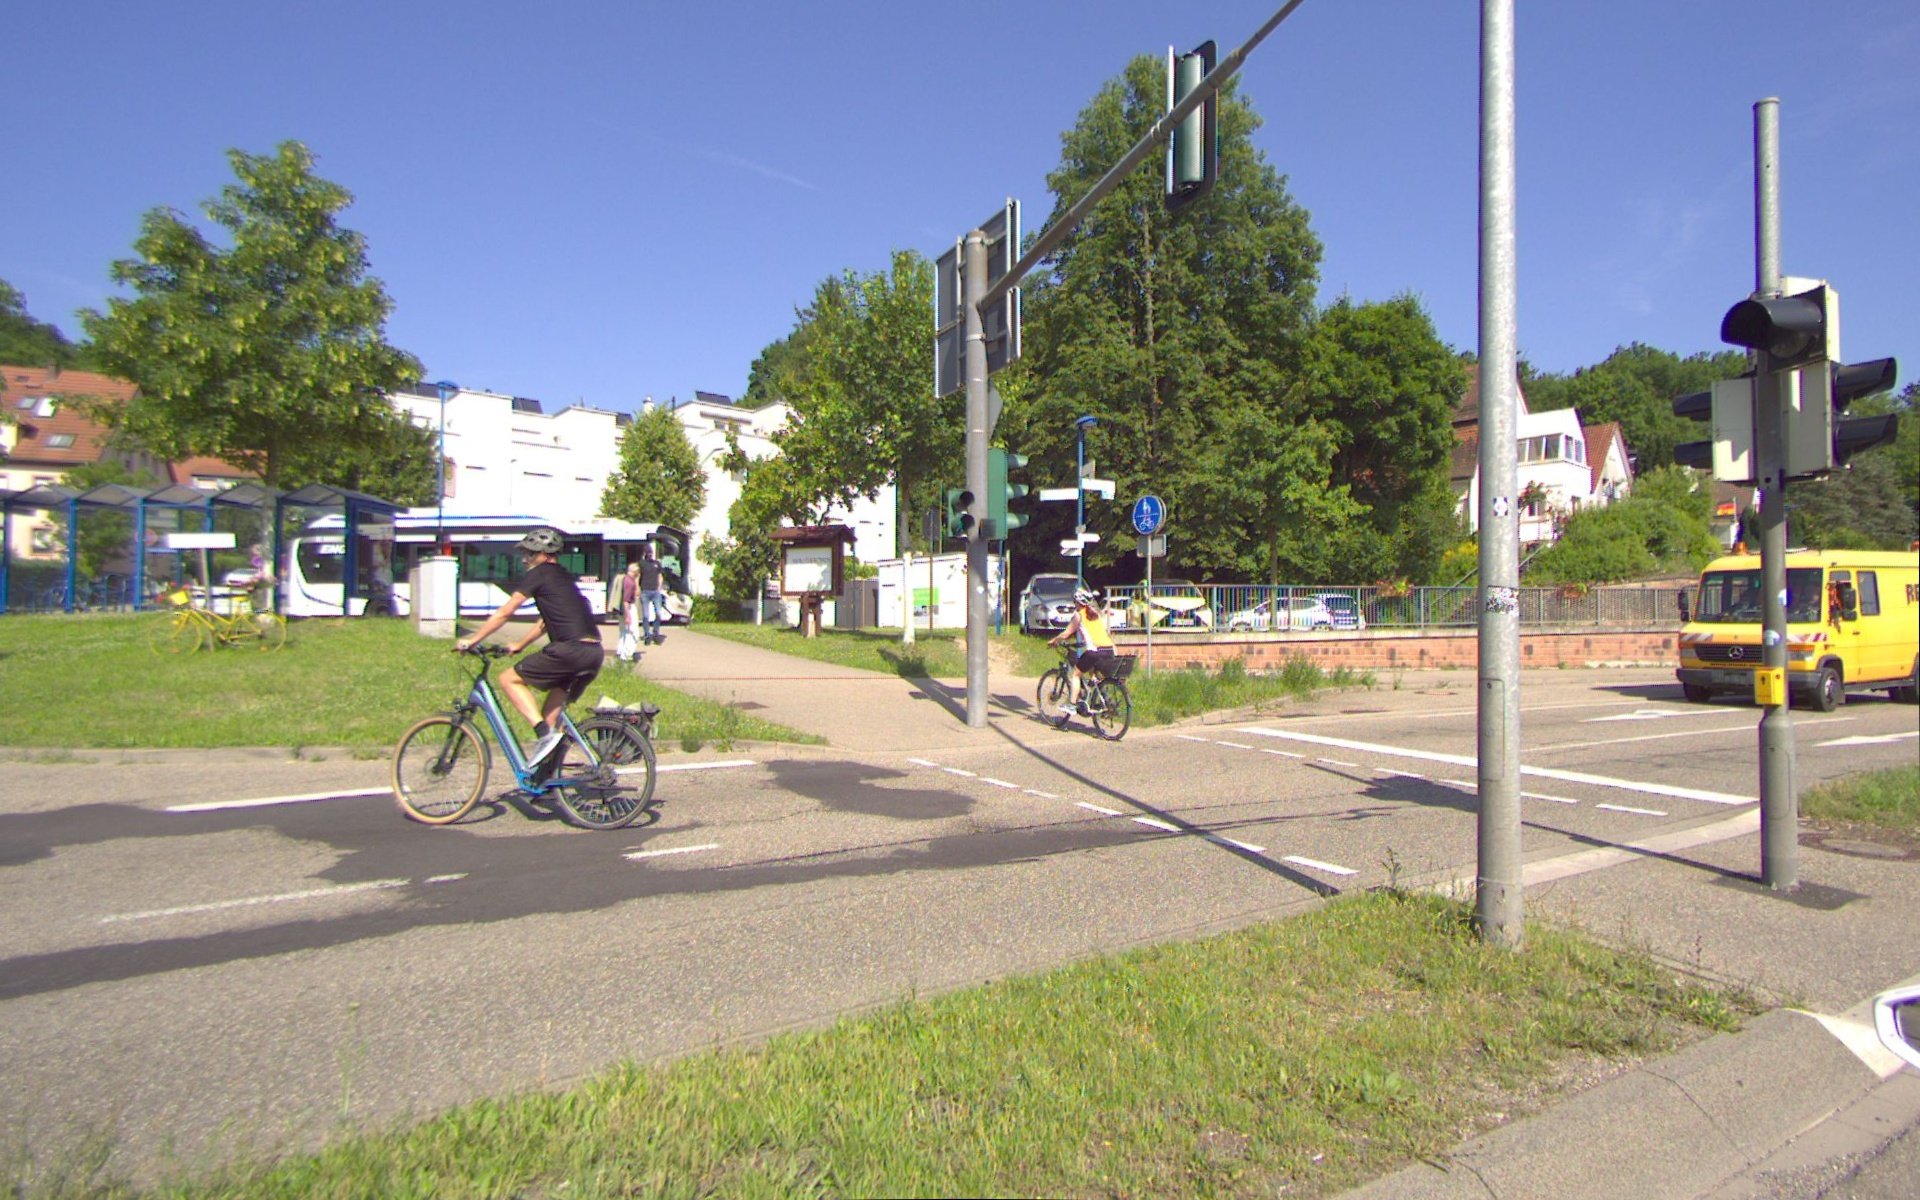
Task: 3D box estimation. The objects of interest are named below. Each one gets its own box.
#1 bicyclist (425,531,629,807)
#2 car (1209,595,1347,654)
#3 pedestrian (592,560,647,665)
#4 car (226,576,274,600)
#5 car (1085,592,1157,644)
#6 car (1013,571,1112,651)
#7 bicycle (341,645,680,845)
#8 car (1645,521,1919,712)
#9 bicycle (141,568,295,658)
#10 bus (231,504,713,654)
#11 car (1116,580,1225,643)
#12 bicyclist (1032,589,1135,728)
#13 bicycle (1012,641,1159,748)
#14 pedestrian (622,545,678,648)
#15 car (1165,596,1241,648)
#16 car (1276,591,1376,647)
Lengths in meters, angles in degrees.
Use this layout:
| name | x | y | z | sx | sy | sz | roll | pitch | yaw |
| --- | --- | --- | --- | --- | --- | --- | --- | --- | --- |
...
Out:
| name | x | y | z | sx | sy | sz | roll | pitch | yaw |
| --- | --- | --- | --- | --- | --- | --- | --- | --- | --- |
| bicyclist | -2.850 | 0.422 | 6.697 | 0.973 | 1.714 | 0.807 | 1 | 1 | 6 |
| car | 10.286 | 0.790 | 32.717 | 3.920 | 1.813 | 1.922 | 1 | -1 | 1 |
| pedestrian | -5.670 | 0.190 | 16.733 | 0.732 | 1.700 | 0.707 | 0 | 2 | -31 |
| car | -56.752 | -0.953 | 80.353 | 1.968 | 1.833 | 3.985 | 1 | 0 | -17 |
| car | 5.826 | 0.614 | 36.739 | 1.876 | 1.724 | 3.998 | 0 | 1 | -2 |
| car | 2.372 | 0.189 | 24.308 | 2.016 | 1.719 | 4.415 | 1 | 2 | 1 |
| bicycle | -2.962 | 0.926 | 6.726 | 1.959 | 1.178 | 0.735 | 1 | 1 | 6 |
| car | 15.846 | 0.308 | 18.684 | 6.386 | 3.051 | 2.457 | 1 | 0 | -29 |
| bicycle | -11.206 | 0.170 | 15.247 | 1.733 | 1.273 | 0.616 | -2 | 5 | -26 |
| bus | -13.003 | -0.616 | 27.234 | 11.971 | 3.764 | 2.871 | 1 | 1 | 5 |
| car | 5.014 | 0.218 | 24.452 | 1.876 | 1.400 | 4.000 | 0 | 1 | 1 |
| bicyclist | 1.479 | 0.674 | 12.108 | 0.798 | 1.585 | 0.949 | -1 | 0 | -31 |
| bicycle | 1.465 | 1.090 | 12.126 | 0.726 | 1.079 | 1.956 | -1 | 1 | -31 |
| pedestrian | -5.996 | -0.074 | 19.419 | 0.848 | 1.934 | 0.734 | 1 | 3 | -32 |
| car | 8.653 | 0.745 | 36.142 | 1.960 | 1.694 | 4.001 | 0 | 1 | 3 |
| car | 13.246 | 0.643 | 36.620 | 1.878 | 1.901 | 3.996 | 0 | 1 | -6 |
